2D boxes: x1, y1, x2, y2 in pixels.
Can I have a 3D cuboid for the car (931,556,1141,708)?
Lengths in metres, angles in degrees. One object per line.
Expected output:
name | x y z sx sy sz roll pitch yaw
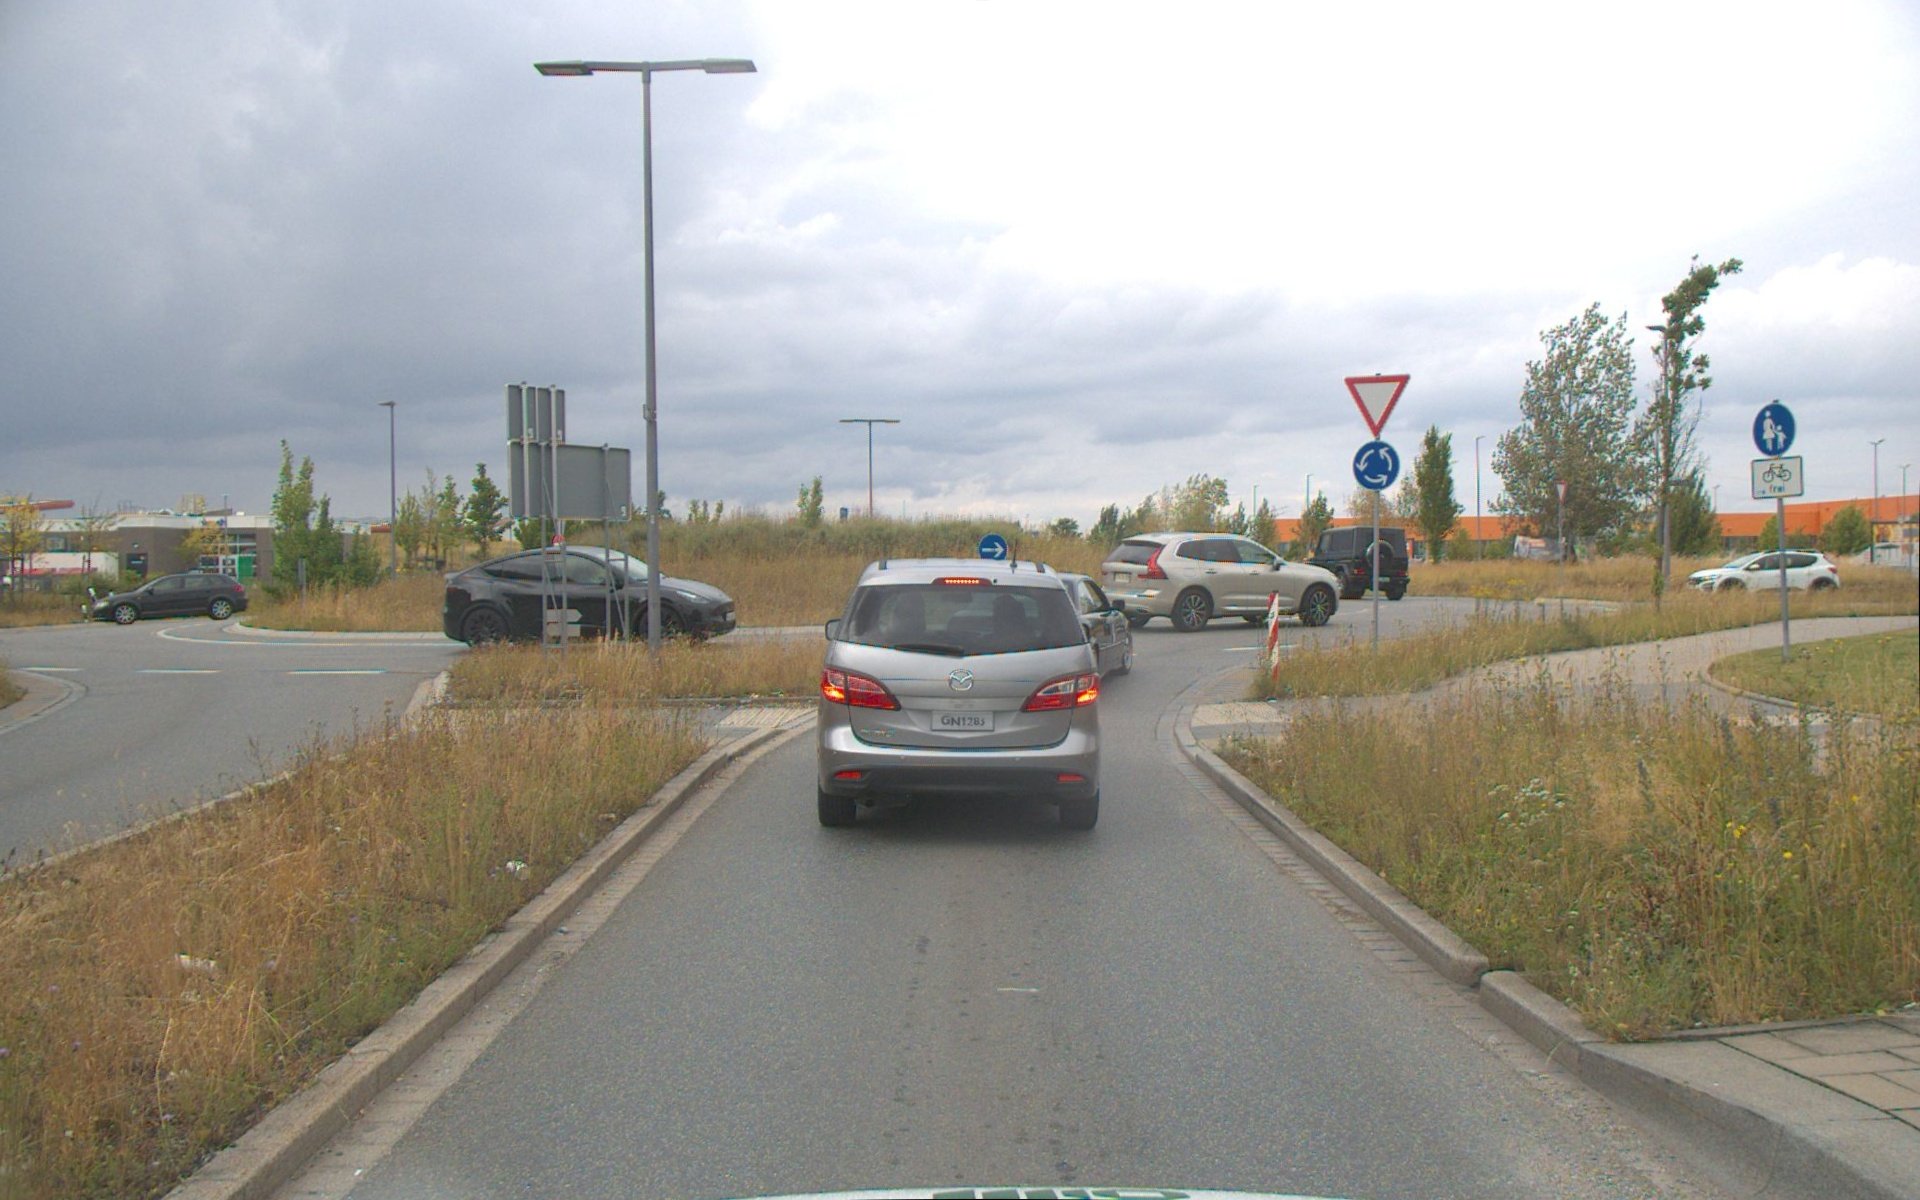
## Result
car | 0.999 0.277 19.372 1.701 1.427 4.002 1 4 14

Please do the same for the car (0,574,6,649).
car | -21.300 0.309 33.188 3.908 1.489 1.812 -1 2 26

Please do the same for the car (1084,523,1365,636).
car | 4.716 -0.424 29.422 4.701 1.768 1.929 -3 3 -26

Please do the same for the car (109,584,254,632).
car | -23.118 0.211 49.154 3.794 1.348 1.456 -1 0 -30

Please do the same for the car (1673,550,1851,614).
car | 23.014 -0.537 47.563 4.237 1.676 1.871 -1 3 2

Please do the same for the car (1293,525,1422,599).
car | 11.197 -1.142 46.956 2.038 1.919 4.769 -2 3 -6

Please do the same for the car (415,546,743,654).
car | -6.006 -0.028 26.365 4.658 1.524 1.946 -1 3 7

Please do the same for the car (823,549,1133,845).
car | 0.065 0.486 11.196 1.702 1.626 3.997 1 2 -1

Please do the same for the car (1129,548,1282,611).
car | 8.142 -0.716 55.076 4.692 1.919 2.071 1 4 43
